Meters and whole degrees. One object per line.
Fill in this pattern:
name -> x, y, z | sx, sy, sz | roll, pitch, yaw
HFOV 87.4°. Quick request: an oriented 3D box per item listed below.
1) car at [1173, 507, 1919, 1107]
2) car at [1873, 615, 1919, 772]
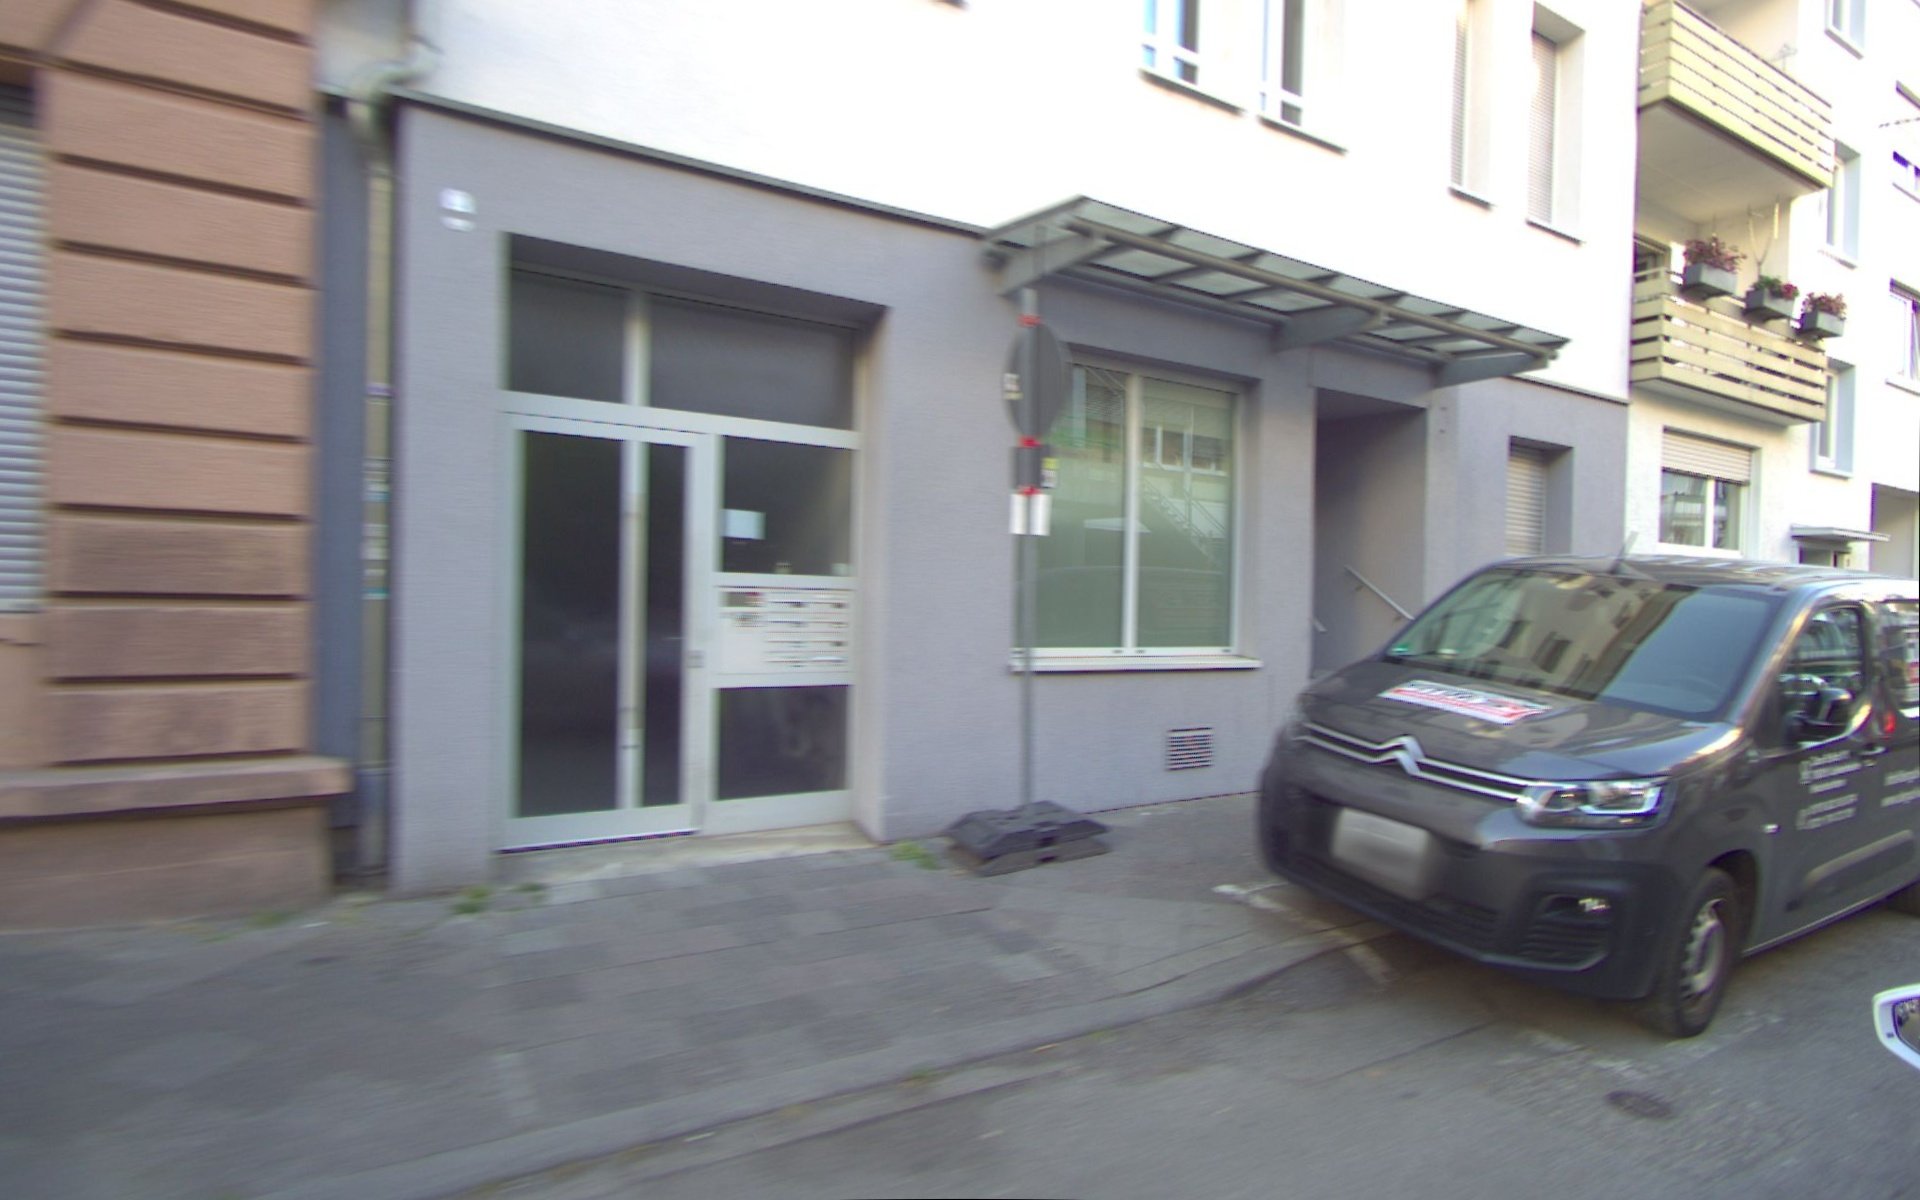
car -> 3.477, 0.671, 5.205 | 4.534, 1.883, 1.982 | 1, 1, -32
car -> 11.235, 1.020, 10.144 | 3.558, 1.506, 1.663 | 1, 5, -26
